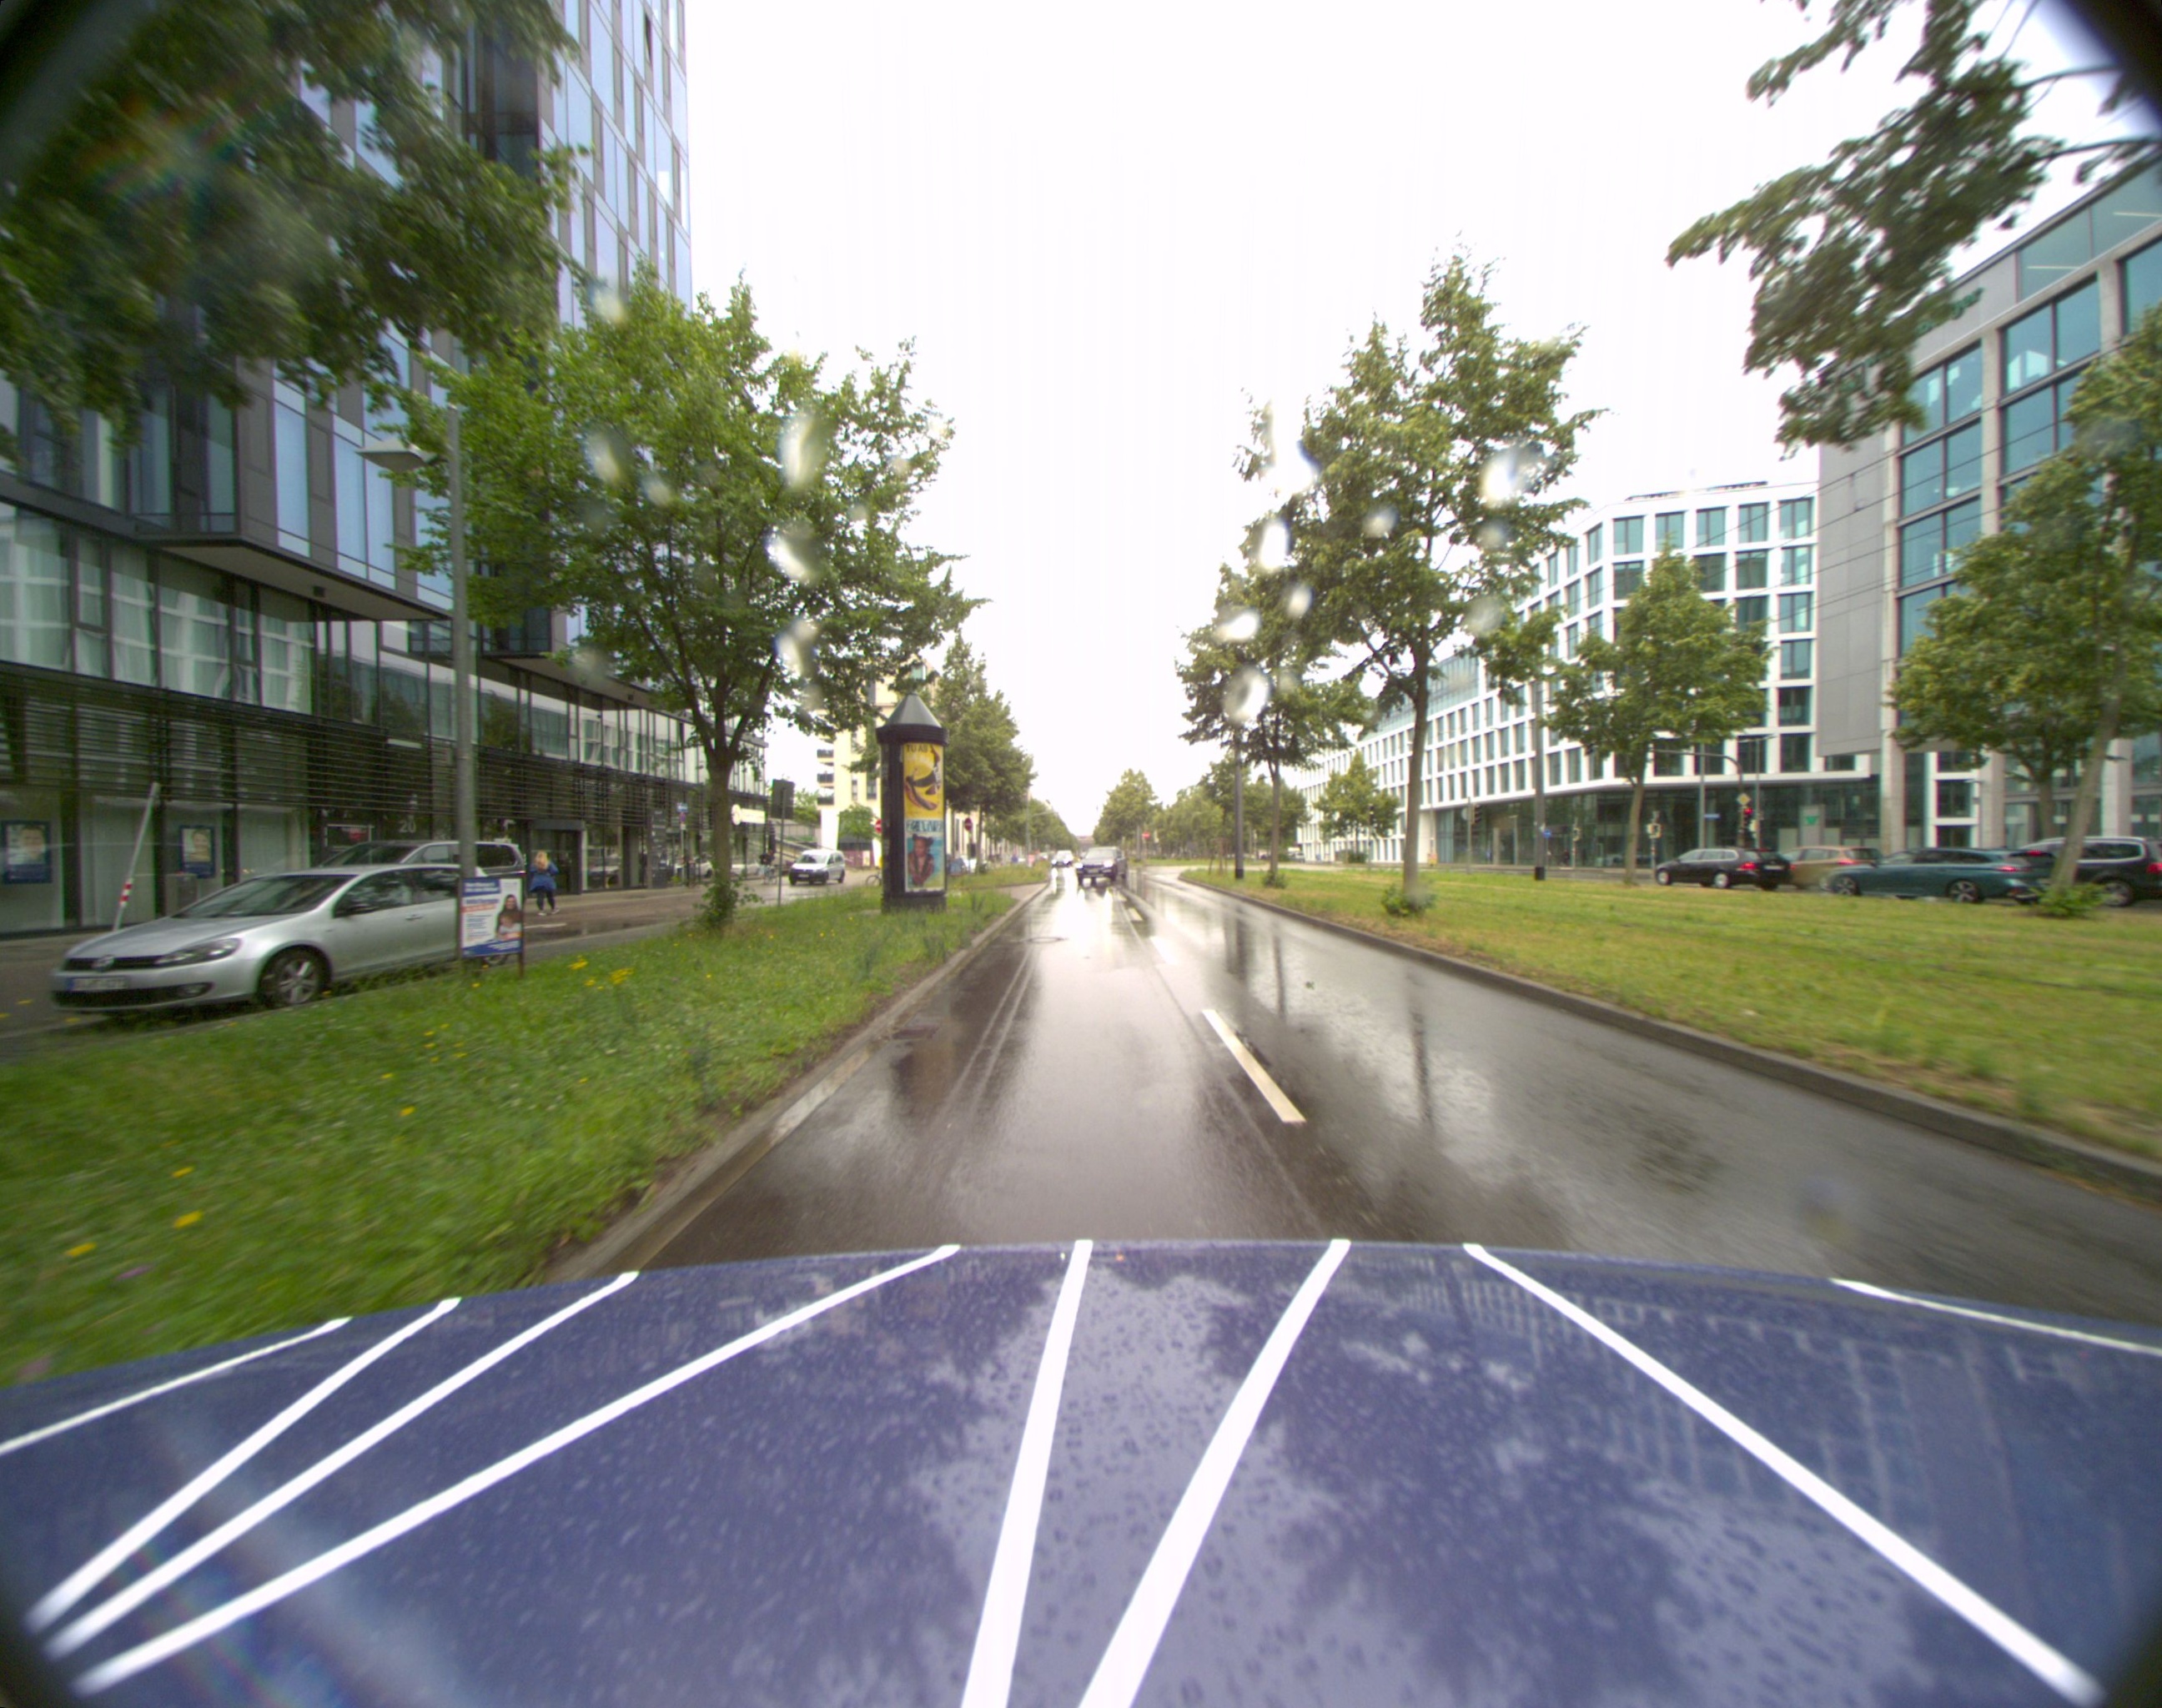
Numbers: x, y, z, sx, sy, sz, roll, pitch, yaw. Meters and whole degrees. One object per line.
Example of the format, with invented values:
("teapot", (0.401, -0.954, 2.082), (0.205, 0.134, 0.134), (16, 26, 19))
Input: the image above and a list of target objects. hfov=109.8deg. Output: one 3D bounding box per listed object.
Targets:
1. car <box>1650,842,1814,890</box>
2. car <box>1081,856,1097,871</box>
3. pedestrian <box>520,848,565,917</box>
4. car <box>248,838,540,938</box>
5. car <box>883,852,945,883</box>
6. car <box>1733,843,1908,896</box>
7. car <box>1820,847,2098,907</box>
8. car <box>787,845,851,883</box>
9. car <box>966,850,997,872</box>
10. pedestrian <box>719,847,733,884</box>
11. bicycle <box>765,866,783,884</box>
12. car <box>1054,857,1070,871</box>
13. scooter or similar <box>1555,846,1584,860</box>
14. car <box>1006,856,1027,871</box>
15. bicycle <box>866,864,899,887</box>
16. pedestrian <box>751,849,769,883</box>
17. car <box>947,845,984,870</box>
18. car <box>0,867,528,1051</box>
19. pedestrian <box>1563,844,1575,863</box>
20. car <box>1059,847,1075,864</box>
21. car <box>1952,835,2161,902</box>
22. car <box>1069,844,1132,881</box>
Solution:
("car", (22.725, 0.420, 26.812), (1.955, 1.550, 4.464), (-1, -1, 0))
("car", (0.876, 1.081, 82.523), (1.657, 1.520, 3.776), (-1, -1, -1))
("pedestrian", (-13.815, 0.730, 19.500), (0.581, 1.729, 0.803), (-1, -1, -1))
("car", (-15.158, 0.629, 17.318), (1.999, 1.909, 5.148), (-1, 1, -1))
("car", (-8.605, 0.654, 39.568), (1.998, 1.446, 4.959), (-1, 0, 1))
("car", (25.738, 0.464, 26.697), (1.956, 1.684, 4.271), (-1, 1, -1))
("car", (22.224, 0.589, 19.587), (1.956, 1.377, 4.473), (0, -2, -1))
("car", (-13.746, 0.513, 40.163), (1.898, 1.855, 4.722), (-1, 0, -2))
("car", (-8.437, 0.631, 64.975), (1.998, 1.697, 4.840), (-1, -1, 0))
("pedestrian", (-18.013, 0.581, 38.540), (0.508, 1.821, 0.575), (0, -1, -35))
("bicycle", (-15.615, 1.079, 38.650), (0.437, 0.892, 1.232), (-1, -1, -4))
("car", (-2.074, 1.095, 83.001), (1.687, 1.520, 3.969), (-1, -1, -1))
("scooter or similar", (42.177, -0.104, 65.659), (2.161, 1.145, 0.550), (-1, -1, -1))
("car", (-7.303, 1.113, 86.759), (1.998, 1.697, 4.840), (-1, -1, 0))
("bicycle", (-8.199, 0.896, 31.390), (1.458, 0.911, 0.434), (-2, -1, 33))
("pedestrian", (-16.256, 0.610, 38.500), (0.627, 1.695, 0.657), (-1, -1, -5))
("car", (-8.535, 0.317, 56.726), (1.998, 1.697, 4.840), (-1, -1, 0))
("car", (-8.711, 0.970, 8.671), (1.765, 1.586, 4.101), (-1, -1, 1))
("pedestrian", (42.177, -0.078, 65.652), (0.634, 1.634, 0.546), (0, 2, 2))
("car", (-1.627, 0.252, 91.686), (1.757, 1.914, 4.001), (-1, -1, 1))
("car", (25.633, 0.364, 19.333), (1.956, 1.530, 4.273), (-1, -1, -1))
("car", (1.003, 0.356, 36.423), (1.926, 1.651, 4.721), (0, 1, 16))
